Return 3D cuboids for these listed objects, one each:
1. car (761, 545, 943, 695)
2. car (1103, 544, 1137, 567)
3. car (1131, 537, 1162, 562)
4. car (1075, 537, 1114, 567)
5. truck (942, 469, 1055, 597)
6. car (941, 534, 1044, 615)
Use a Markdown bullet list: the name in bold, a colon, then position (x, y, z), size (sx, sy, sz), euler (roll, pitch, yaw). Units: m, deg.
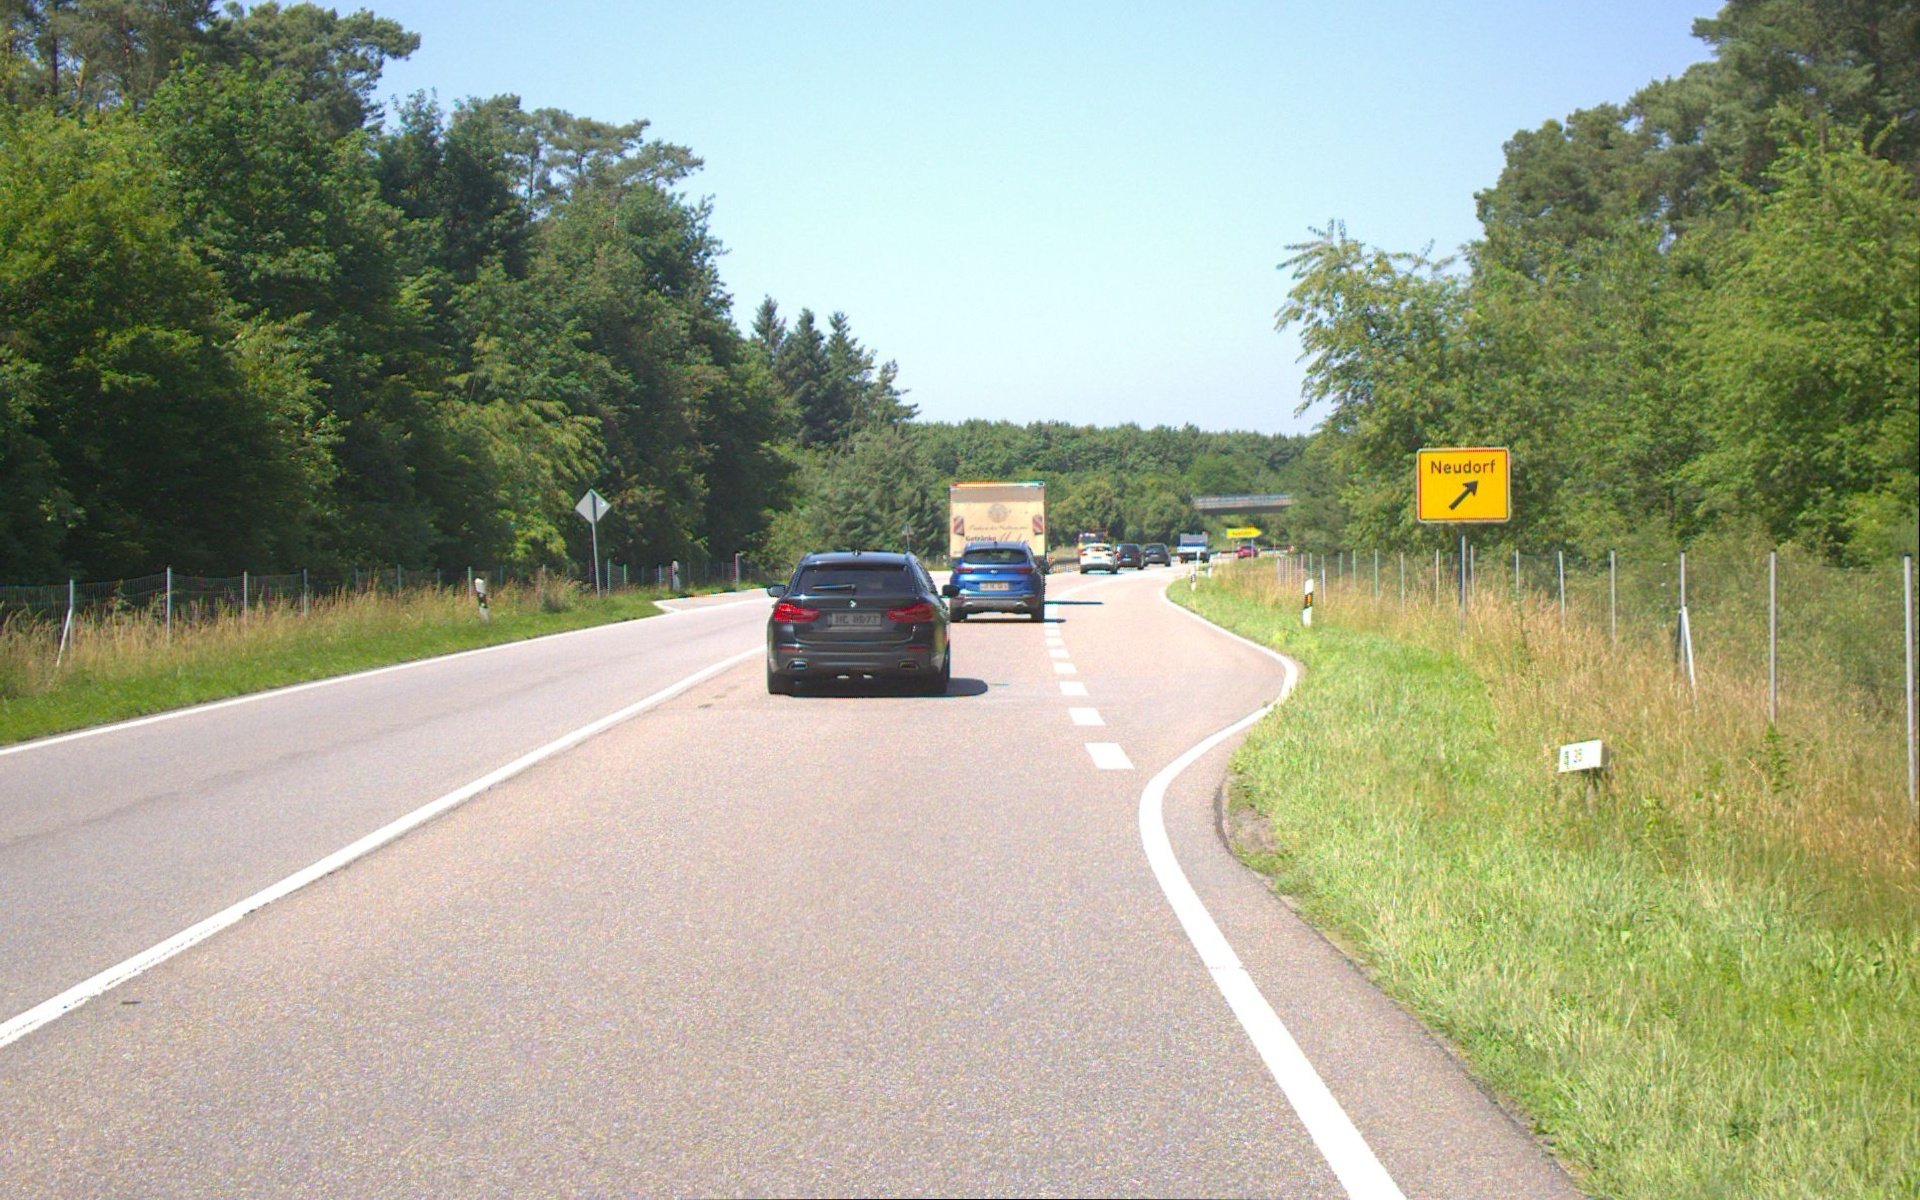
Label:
- **car**: position (-1.193, 0.167, 36.491), size (1.820, 1.465, 4.001), euler (0, 1, -3)
- **car**: position (10.063, -2.794, 216.366), size (1.993, 1.415, 4.000), euler (1, 1, 1)
- **car**: position (13.062, -3.539, 240.802), size (1.994, 1.631, 4.000), euler (-1, 1, 5)
- **car**: position (7.328, -2.610, 187.196), size (1.863, 1.600, 4.000), euler (1, 1, -1)
- **truck**: position (1.090, -1.838, 93.932), size (2.966, 3.376, 6.438), euler (0, 1, 1)
- **car**: position (0.630, -0.538, 69.584), size (1.947, 1.536, 4.000), euler (-1, 1, -1)
